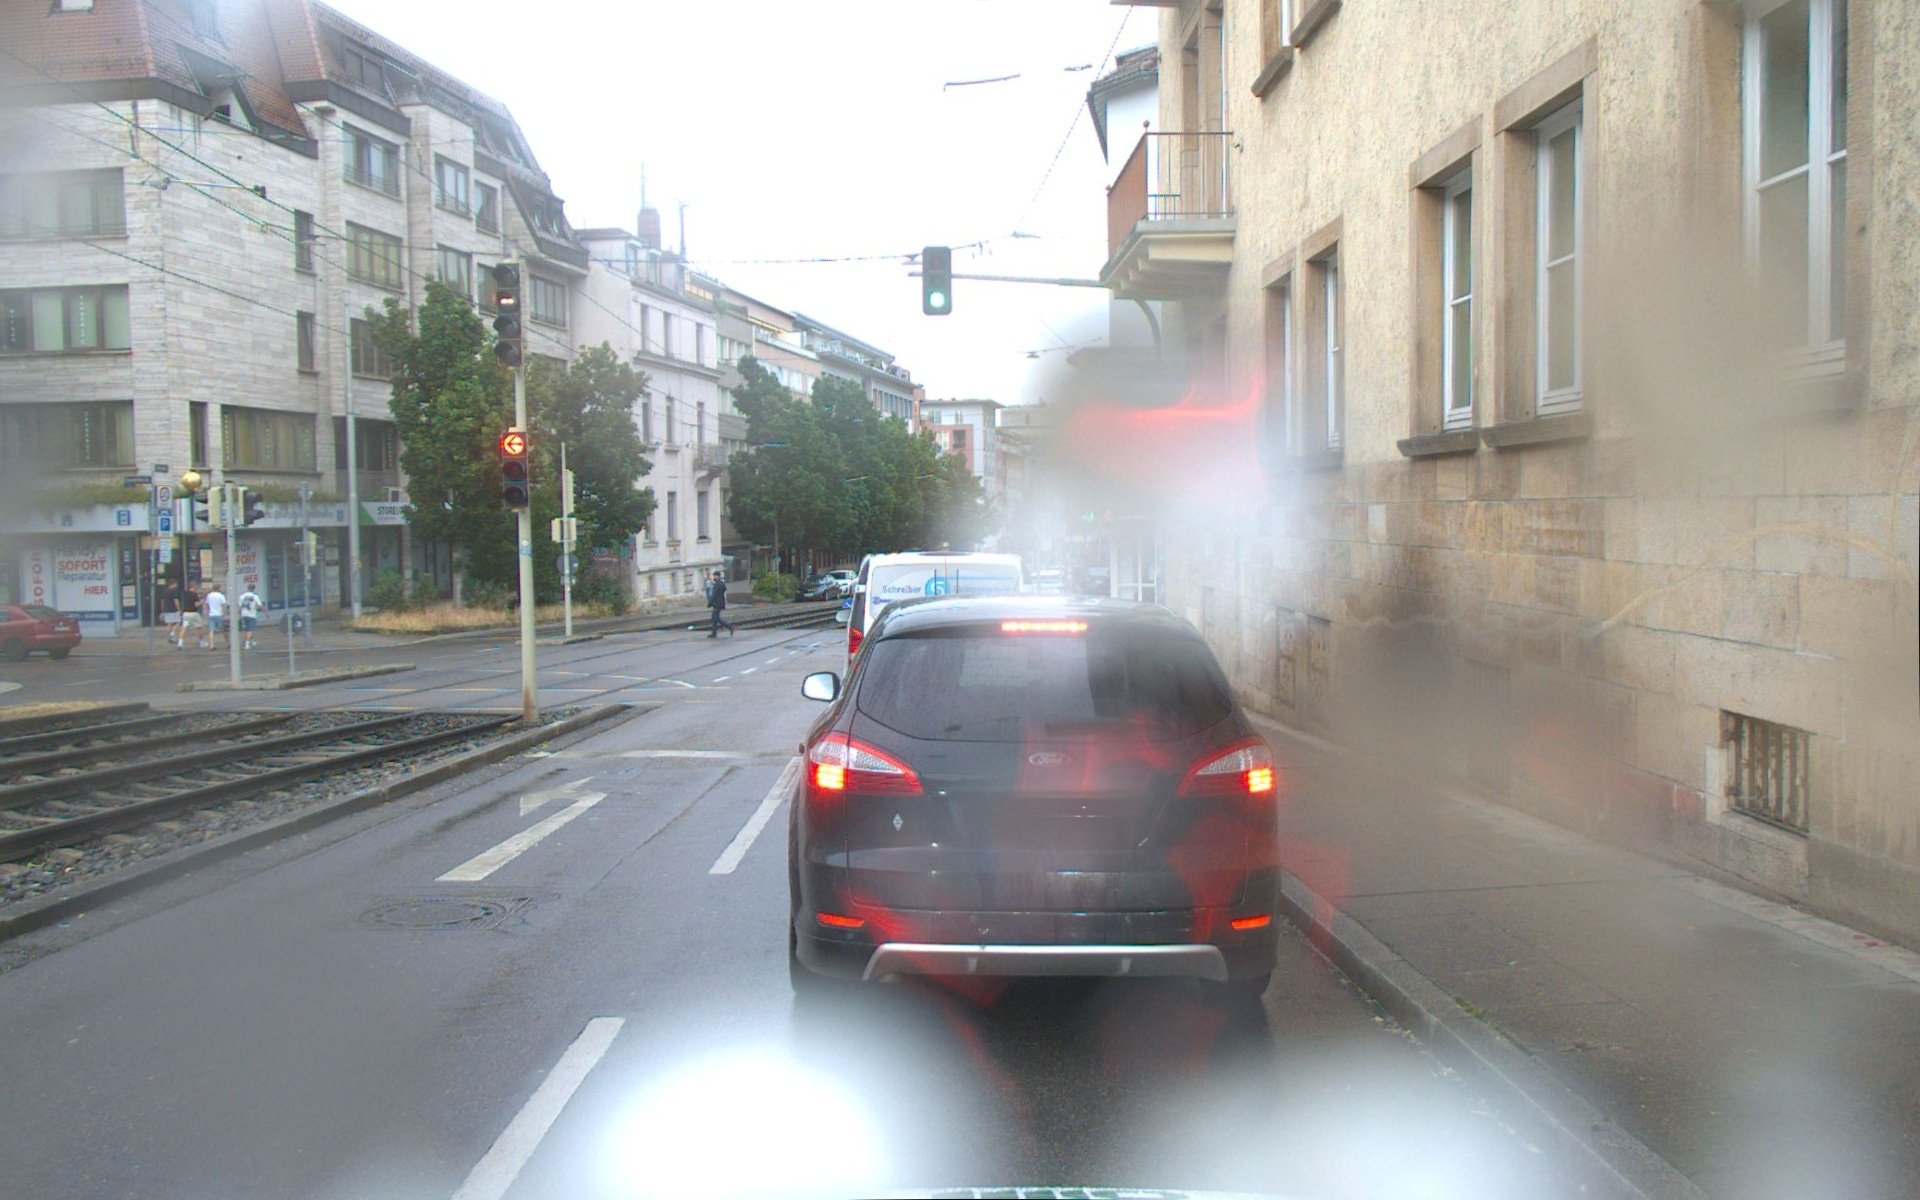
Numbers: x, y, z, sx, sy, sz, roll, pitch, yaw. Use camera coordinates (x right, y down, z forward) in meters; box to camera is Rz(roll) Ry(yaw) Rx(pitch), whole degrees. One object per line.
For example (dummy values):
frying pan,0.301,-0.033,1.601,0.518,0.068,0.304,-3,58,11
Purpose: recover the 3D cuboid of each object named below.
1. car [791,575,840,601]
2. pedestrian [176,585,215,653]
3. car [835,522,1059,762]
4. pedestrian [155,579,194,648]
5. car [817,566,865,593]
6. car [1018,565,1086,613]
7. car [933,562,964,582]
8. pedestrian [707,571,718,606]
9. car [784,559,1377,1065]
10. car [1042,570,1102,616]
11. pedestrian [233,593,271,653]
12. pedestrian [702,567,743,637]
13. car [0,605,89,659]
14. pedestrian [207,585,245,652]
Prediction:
car,-8.159,-0.661,93.636,1.657,1.401,4.725,0,0,9
pedestrian,-20.441,0.501,44.243,0.634,1.780,0.684,1,0,7
car,-0.182,0.374,16.910,1.948,2.096,4.643,1,0,-2
pedestrian,-21.474,0.367,45.222,0.634,1.875,0.684,1,0,7
car,-7.150,-1.196,99.765,1.816,1.575,4.725,0,0,9
car,3.146,-0.375,55.905,1.763,1.481,4.590,-2,0,9
car,-0.962,-2.349,139.775,1.816,1.665,4.939,0,0,9
pedestrian,-11.855,-0.541,79.219,0.458,1.681,0.582,1,0,-3
car,0.340,0.654,7.076,1.805,1.533,3.999,1,0,-1
car,4.295,-0.264,62.968,1.806,1.661,4.590,-1,0,9
pedestrian,-18.868,0.604,44.097,0.634,1.576,0.684,1,0,7
pedestrian,-6.419,0.059,44.796,0.911,1.862,0.960,1,0,1
car,-24.397,0.817,42.222,3.614,1.341,1.595,-1,0,10
pedestrian,-19.588,0.501,44.133,0.634,1.754,0.684,1,0,7
